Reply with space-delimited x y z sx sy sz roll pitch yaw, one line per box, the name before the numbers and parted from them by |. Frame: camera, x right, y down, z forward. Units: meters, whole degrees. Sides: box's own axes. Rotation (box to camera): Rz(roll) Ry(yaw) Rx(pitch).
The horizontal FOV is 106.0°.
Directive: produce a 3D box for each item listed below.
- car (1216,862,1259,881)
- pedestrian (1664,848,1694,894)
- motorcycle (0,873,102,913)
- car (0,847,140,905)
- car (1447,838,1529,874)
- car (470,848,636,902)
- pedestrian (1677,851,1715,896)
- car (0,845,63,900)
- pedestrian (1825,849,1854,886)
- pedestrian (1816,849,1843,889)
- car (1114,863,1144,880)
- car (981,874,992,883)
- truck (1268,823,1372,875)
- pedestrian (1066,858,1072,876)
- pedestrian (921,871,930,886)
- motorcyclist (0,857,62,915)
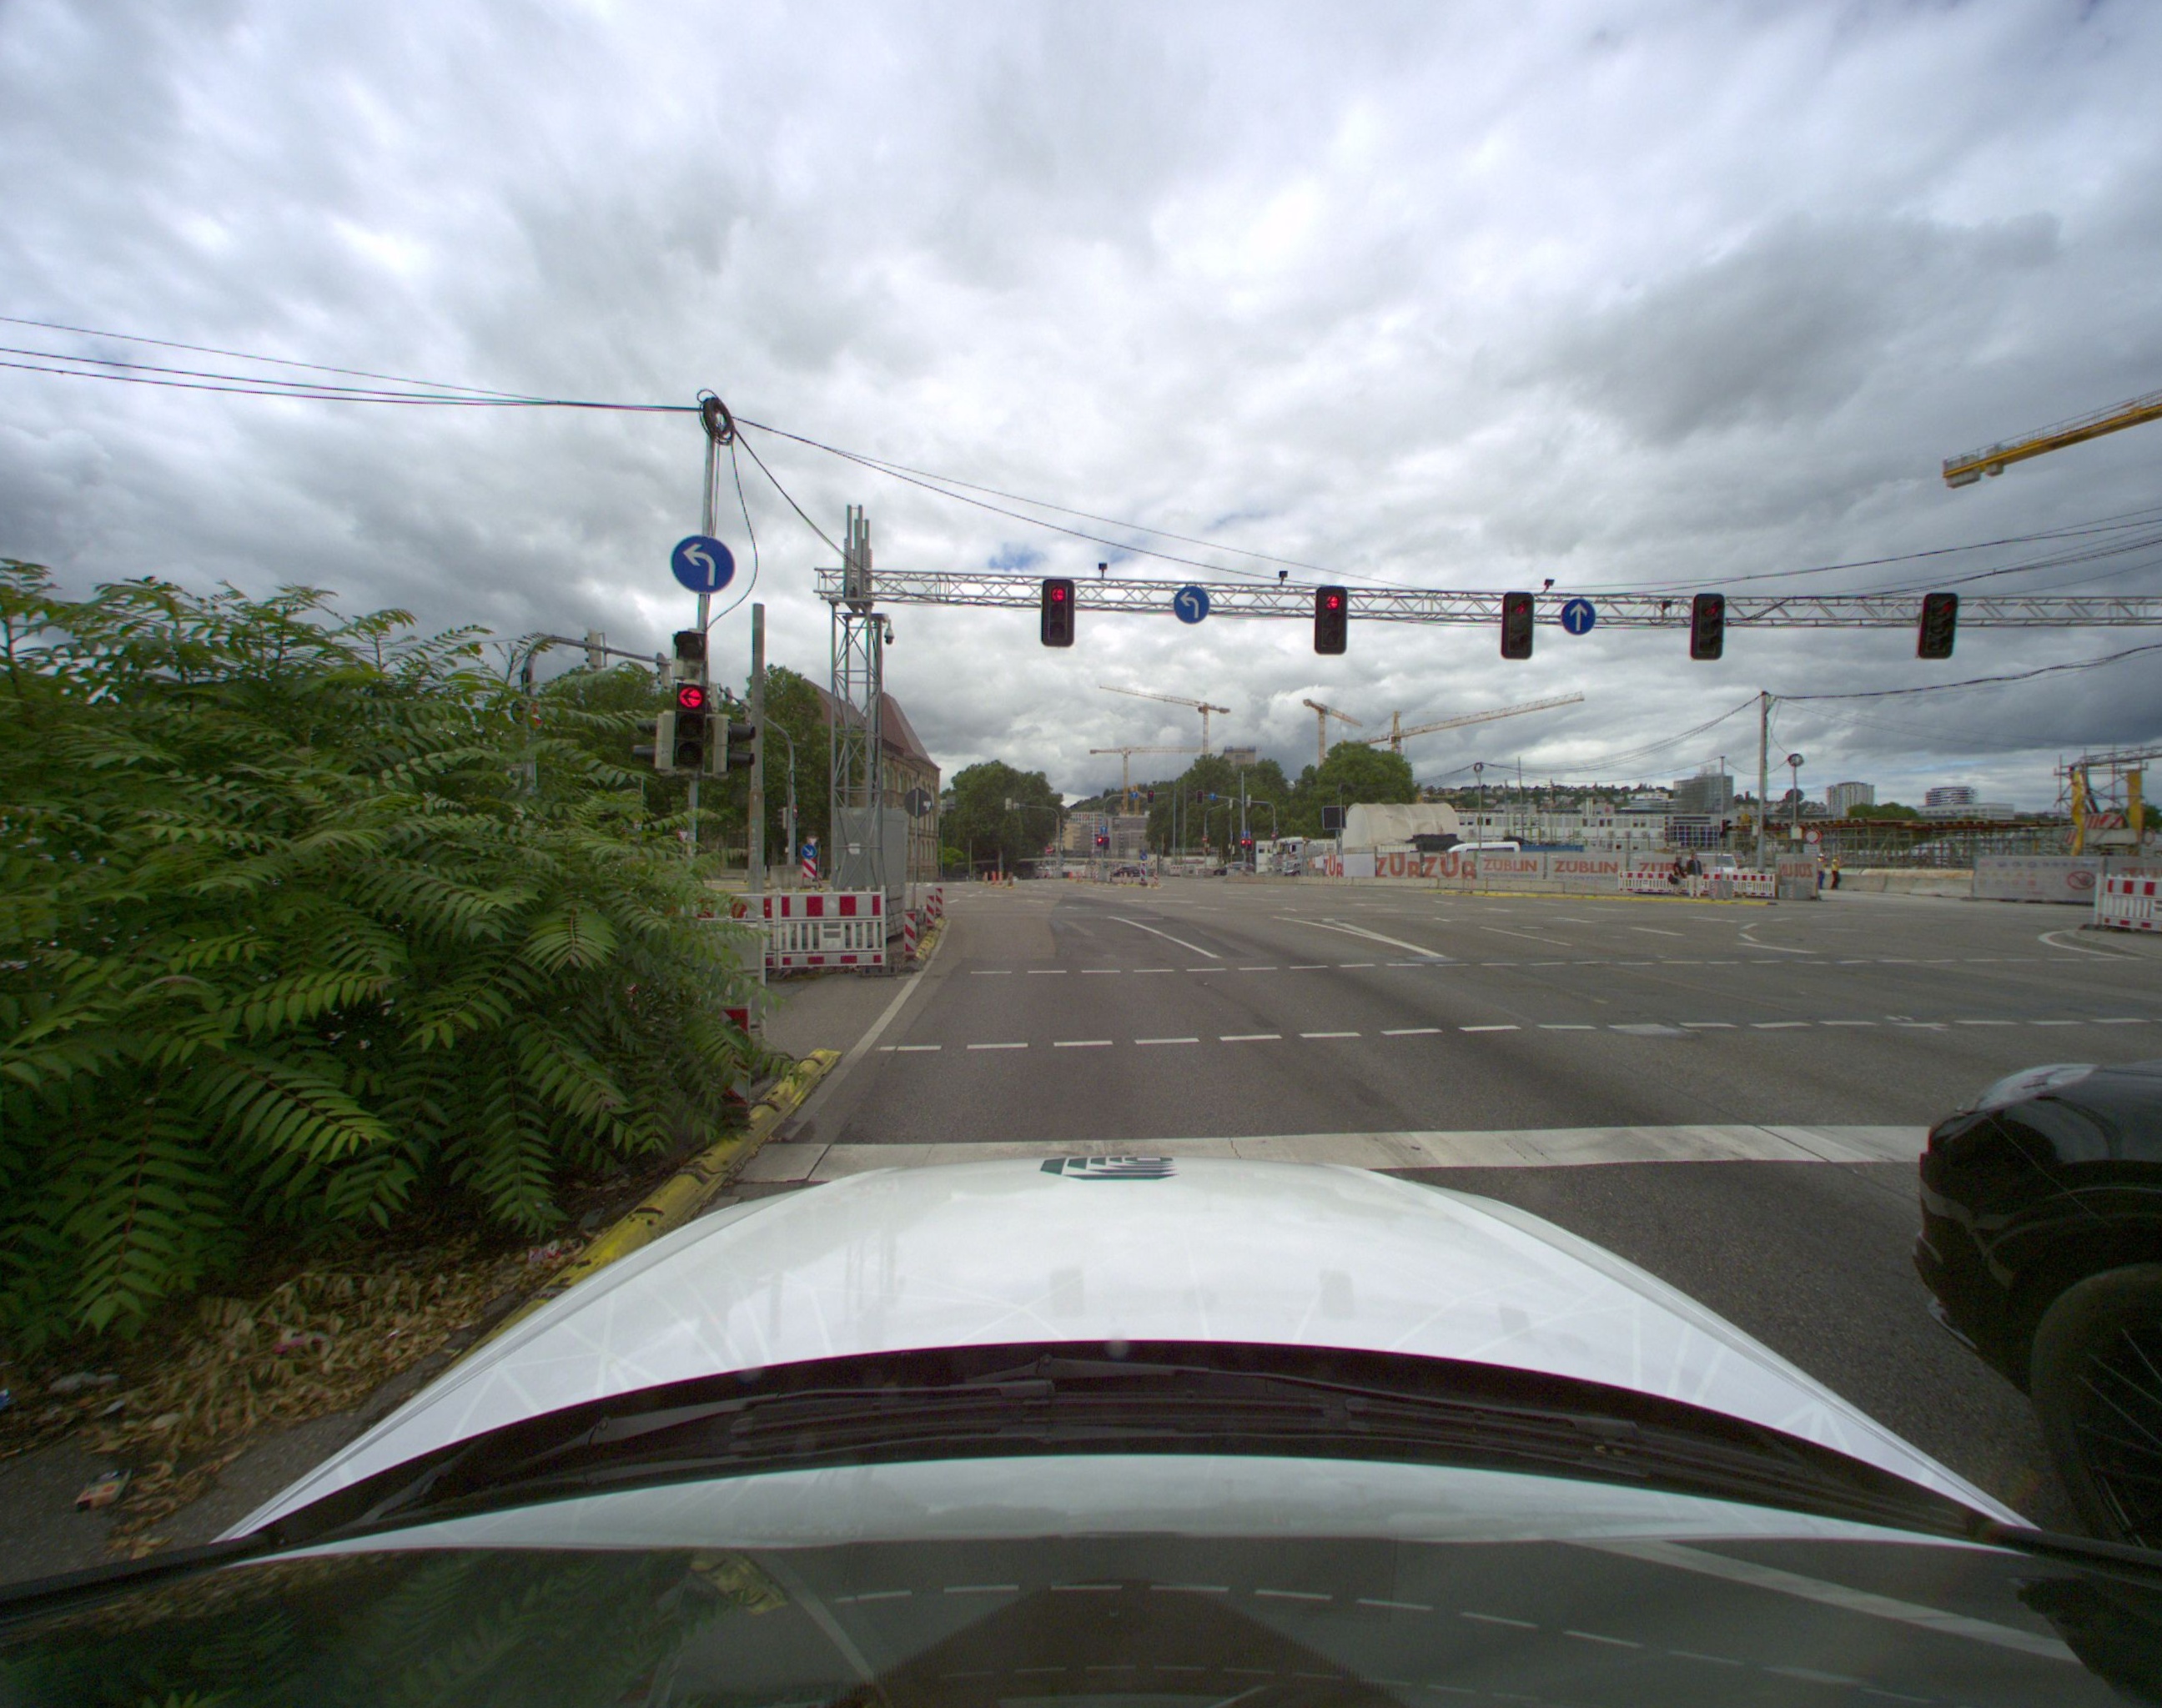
car | 17.265 1.894 89.973 4.224 2.014 2.011 -1 -1 25
pedestrian | 26.513 0.740 36.099 1.021 2.014 1.053 -1 -1 38
motorcycle | -25.482 0.944 19.822 2.342 0.941 0.697 0 -1 -2
car | -29.480 0.610 22.694 4.095 1.547 1.999 0 -1 -2
car | 23.463 0.119 47.095 3.955 2.014 2.009 -1 -1 17
car | -18.845 0.771 29.302 4.497 1.759 1.990 2 -1 -15
pedestrian | 25.742 0.797 34.106 1.035 1.848 0.794 -1 -1 17
car | -32.591 0.532 23.389 4.094 1.547 1.999 0 -1 -1
pedestrian | 39.083 0.685 41.956 0.677 1.916 0.865 0 -1 -4
pedestrian | 38.284 0.743 41.653 0.673 2.014 0.869 -1 -1 14
car | 6.010 2.163 101.392 2.005 2.014 3.964 0 -1 -27
car | -19.912 5.136 171.753 1.987 1.838 3.998 0 -1 -1
truck | 23.602 -0.526 80.611 9.735 4.961 3.097 0 -1 -16
pedestrian | -1.184 1.278 81.012 0.583 1.840 0.604 0 -1 -2
pedestrian | -21.323 3.384 111.731 0.946 2.014 0.767 0 -1 3
motorcyclist | -25.643 0.760 19.808 0.786 1.380 0.697 0 -1 -2
